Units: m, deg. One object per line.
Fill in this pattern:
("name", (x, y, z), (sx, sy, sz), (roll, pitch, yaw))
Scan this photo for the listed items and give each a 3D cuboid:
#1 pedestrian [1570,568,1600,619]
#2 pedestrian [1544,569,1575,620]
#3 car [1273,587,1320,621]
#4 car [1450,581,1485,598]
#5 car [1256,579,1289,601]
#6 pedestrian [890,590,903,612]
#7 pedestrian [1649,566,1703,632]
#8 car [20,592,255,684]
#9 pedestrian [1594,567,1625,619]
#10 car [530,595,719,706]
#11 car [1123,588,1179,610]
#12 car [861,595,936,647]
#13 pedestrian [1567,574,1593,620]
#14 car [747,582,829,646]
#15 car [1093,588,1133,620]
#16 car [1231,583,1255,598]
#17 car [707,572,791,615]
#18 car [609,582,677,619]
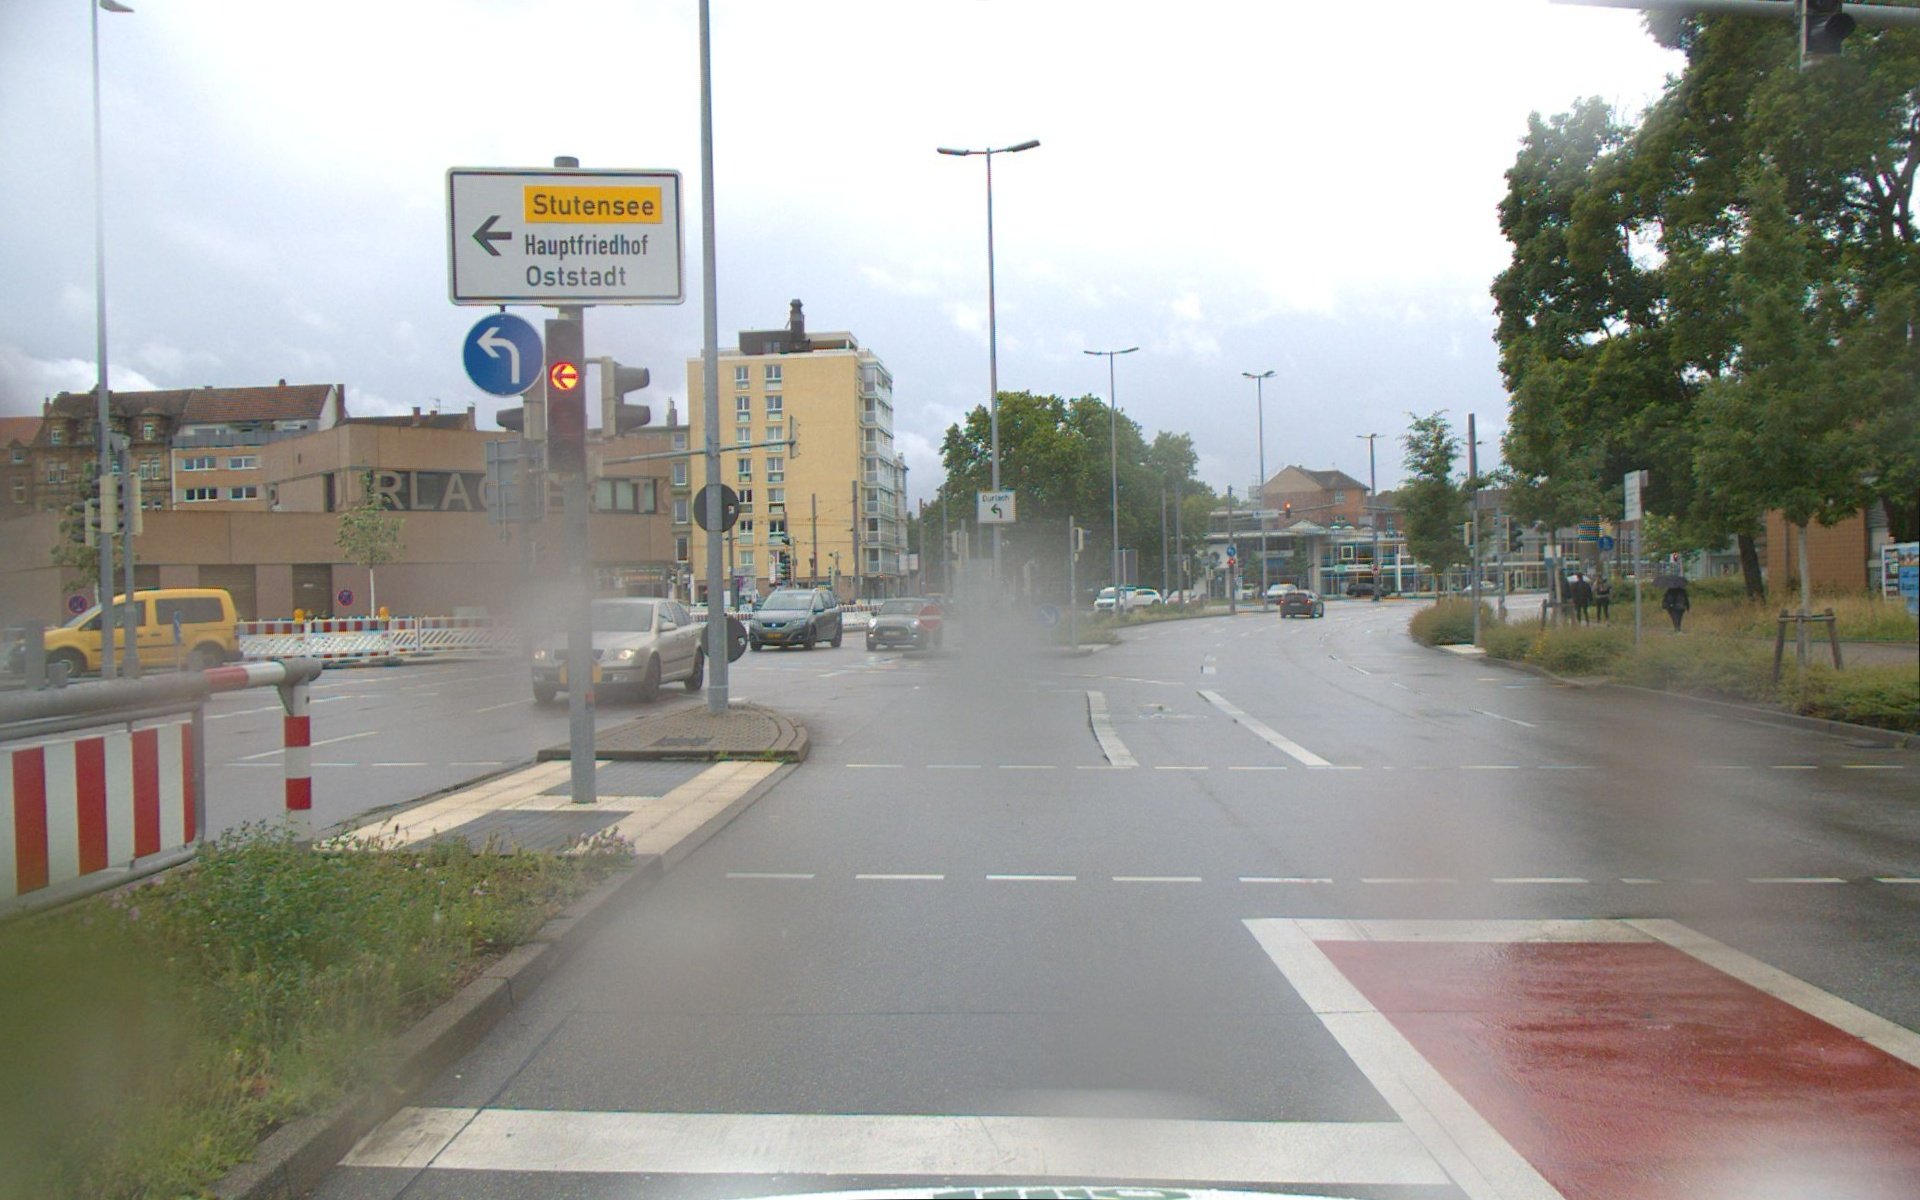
("pedestrian", (20.115, -0.206, 53.233), (0.688, 1.615, 0.937), (-1, 0, 9))
("pedestrian", (19.400, -0.186, 53.537), (0.737, 1.615, 0.937), (-1, 0, 9))
("car", (17.739, 0.191, 87.092), (1.753, 1.672, 4.160), (-1, 0, 21))
("car", (52.676, -1.120, 171.656), (4.128, 1.672, 1.767), (-2, 0, -44))
("car", (25.669, -0.817, 135.828), (1.754, 1.672, 4.157), (-1, 0, 24))
("pedestrian", (-5.569, 0.069, 144.364), (1.071, 1.845, 1.117), (-2, 0, -5))
("pedestrian", (17.966, -0.024, 41.515), (1.000, 1.615, 0.937), (-1, 0, 9))
("car", (-17.094, 0.749, 34.467), (4.114, 1.735, 1.686), (-2, 0, -40))
("pedestrian", (20.800, -0.225, 52.967), (0.688, 1.615, 0.937), (-1, 0, 9))
("car", (-4.926, 0.691, 24.850), (1.658, 1.440, 4.186), (-2, 1, 4))
("car", (15.582, -0.093, 134.642), (4.336, 1.672, 1.778), (-2, 0, -30))
("car", (-1.727, 0.573, 47.762), (1.735, 1.400, 4.122), (-1, 0, 4))
("pedestrian", (22.187, -0.118, 59.217), (0.688, 1.615, 0.937), (-1, 0, 10))
("car", (-4.900, 0.373, 47.707), (1.735, 1.708, 4.770), (-1, 0, 1))
("car", (9.594, 0.251, 103.448), (1.752, 1.890, 4.163), (-1, 0, 15))
("car", (31.963, -1.073, 186.998), (1.753, 1.672, 4.159), (-1, 0, 23))
("car", (-17.993, -0.536, 141.196), (6.601, 3.439, 2.810), (-2, 0, 2))
("car", (-27.175, 0.023, 141.689), (5.239, 2.937, 2.340), (-2, 0, 2))
